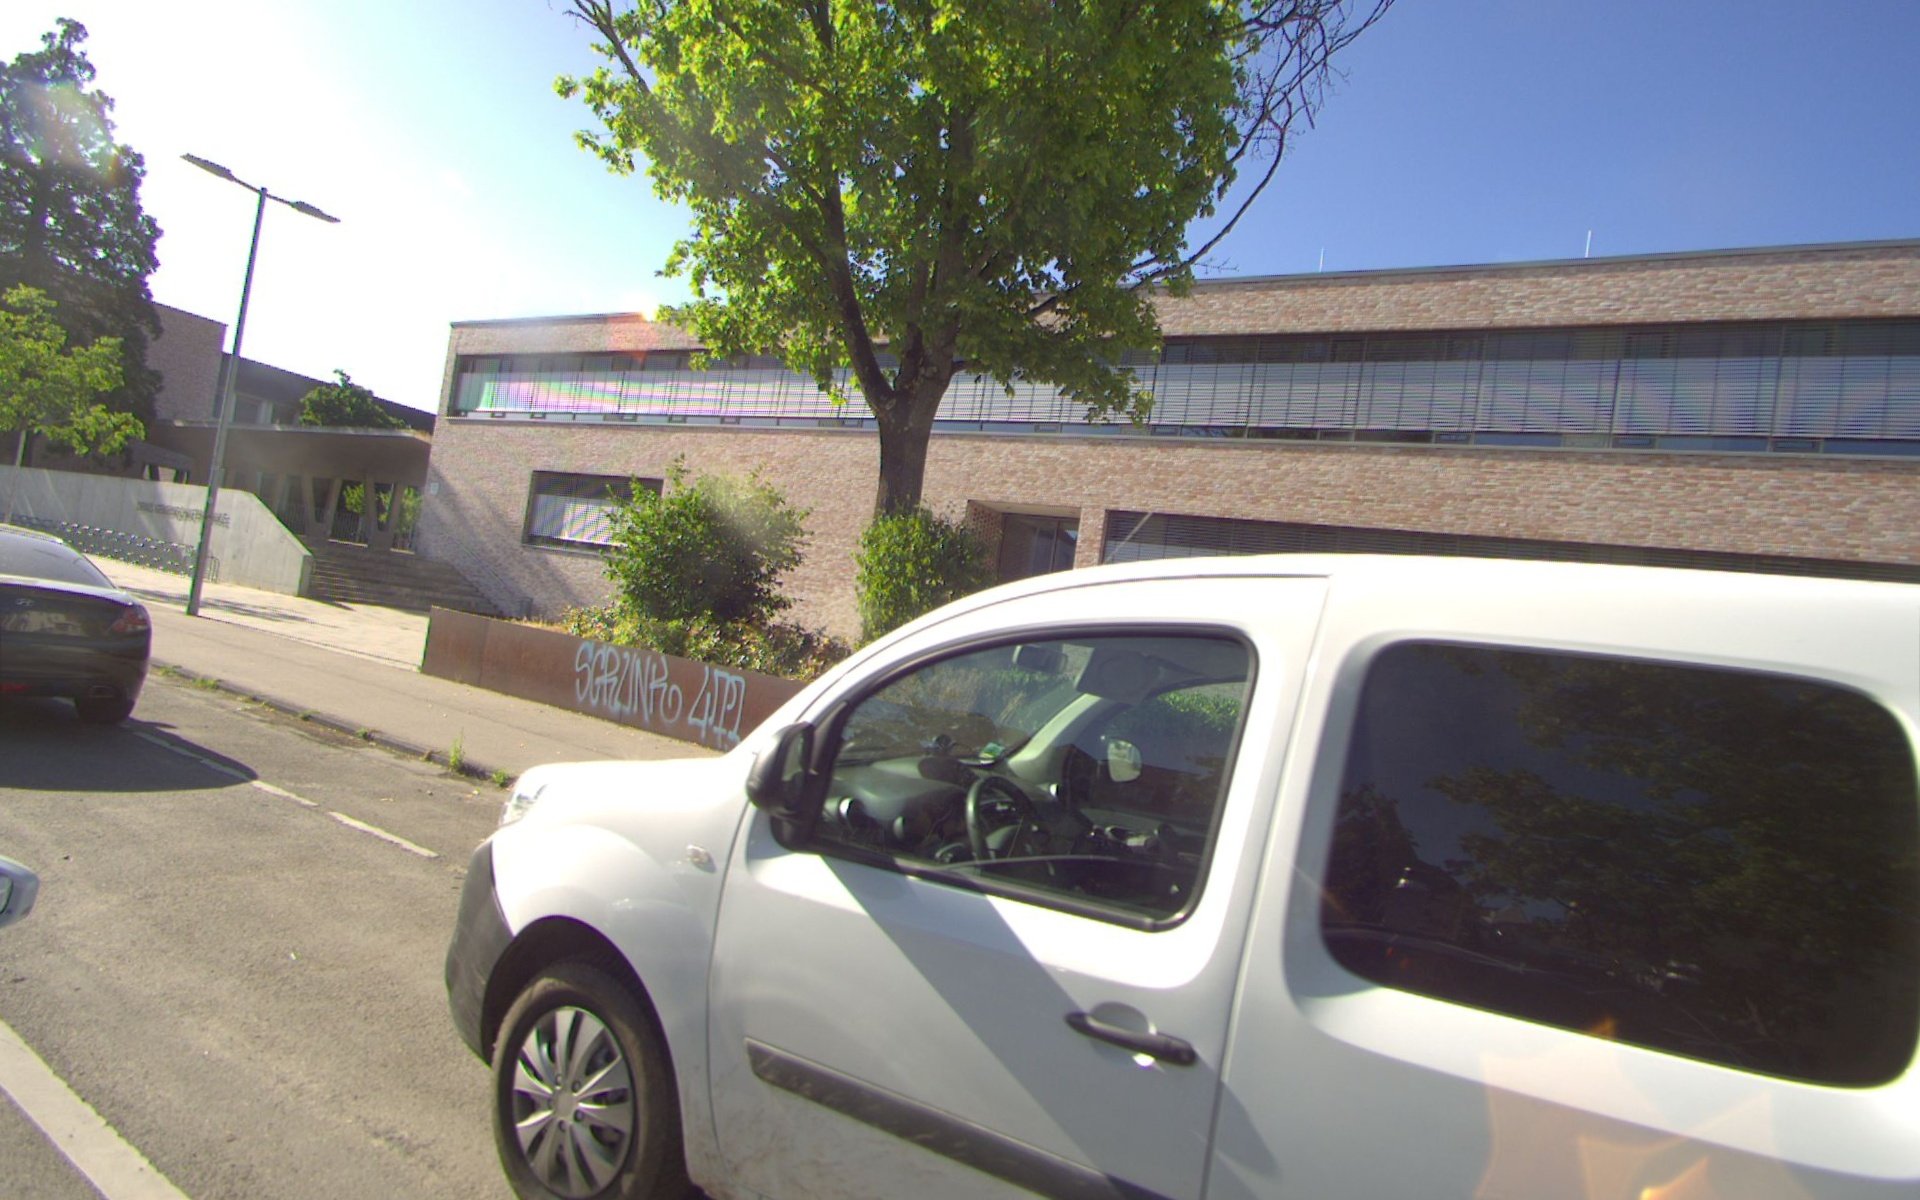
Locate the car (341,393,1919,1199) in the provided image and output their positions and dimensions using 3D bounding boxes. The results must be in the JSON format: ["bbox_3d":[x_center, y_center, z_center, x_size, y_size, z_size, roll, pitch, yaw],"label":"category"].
[{"bbox_3d":[0.796,0.746,2.400,4.386,1.929,1.813,7,-3,30],"label":"car"}]

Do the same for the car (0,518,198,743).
[{"bbox_3d":[-7.604,0.016,7.400,4.060,1.339,1.706,7,-3,32],"label":"car"}]
